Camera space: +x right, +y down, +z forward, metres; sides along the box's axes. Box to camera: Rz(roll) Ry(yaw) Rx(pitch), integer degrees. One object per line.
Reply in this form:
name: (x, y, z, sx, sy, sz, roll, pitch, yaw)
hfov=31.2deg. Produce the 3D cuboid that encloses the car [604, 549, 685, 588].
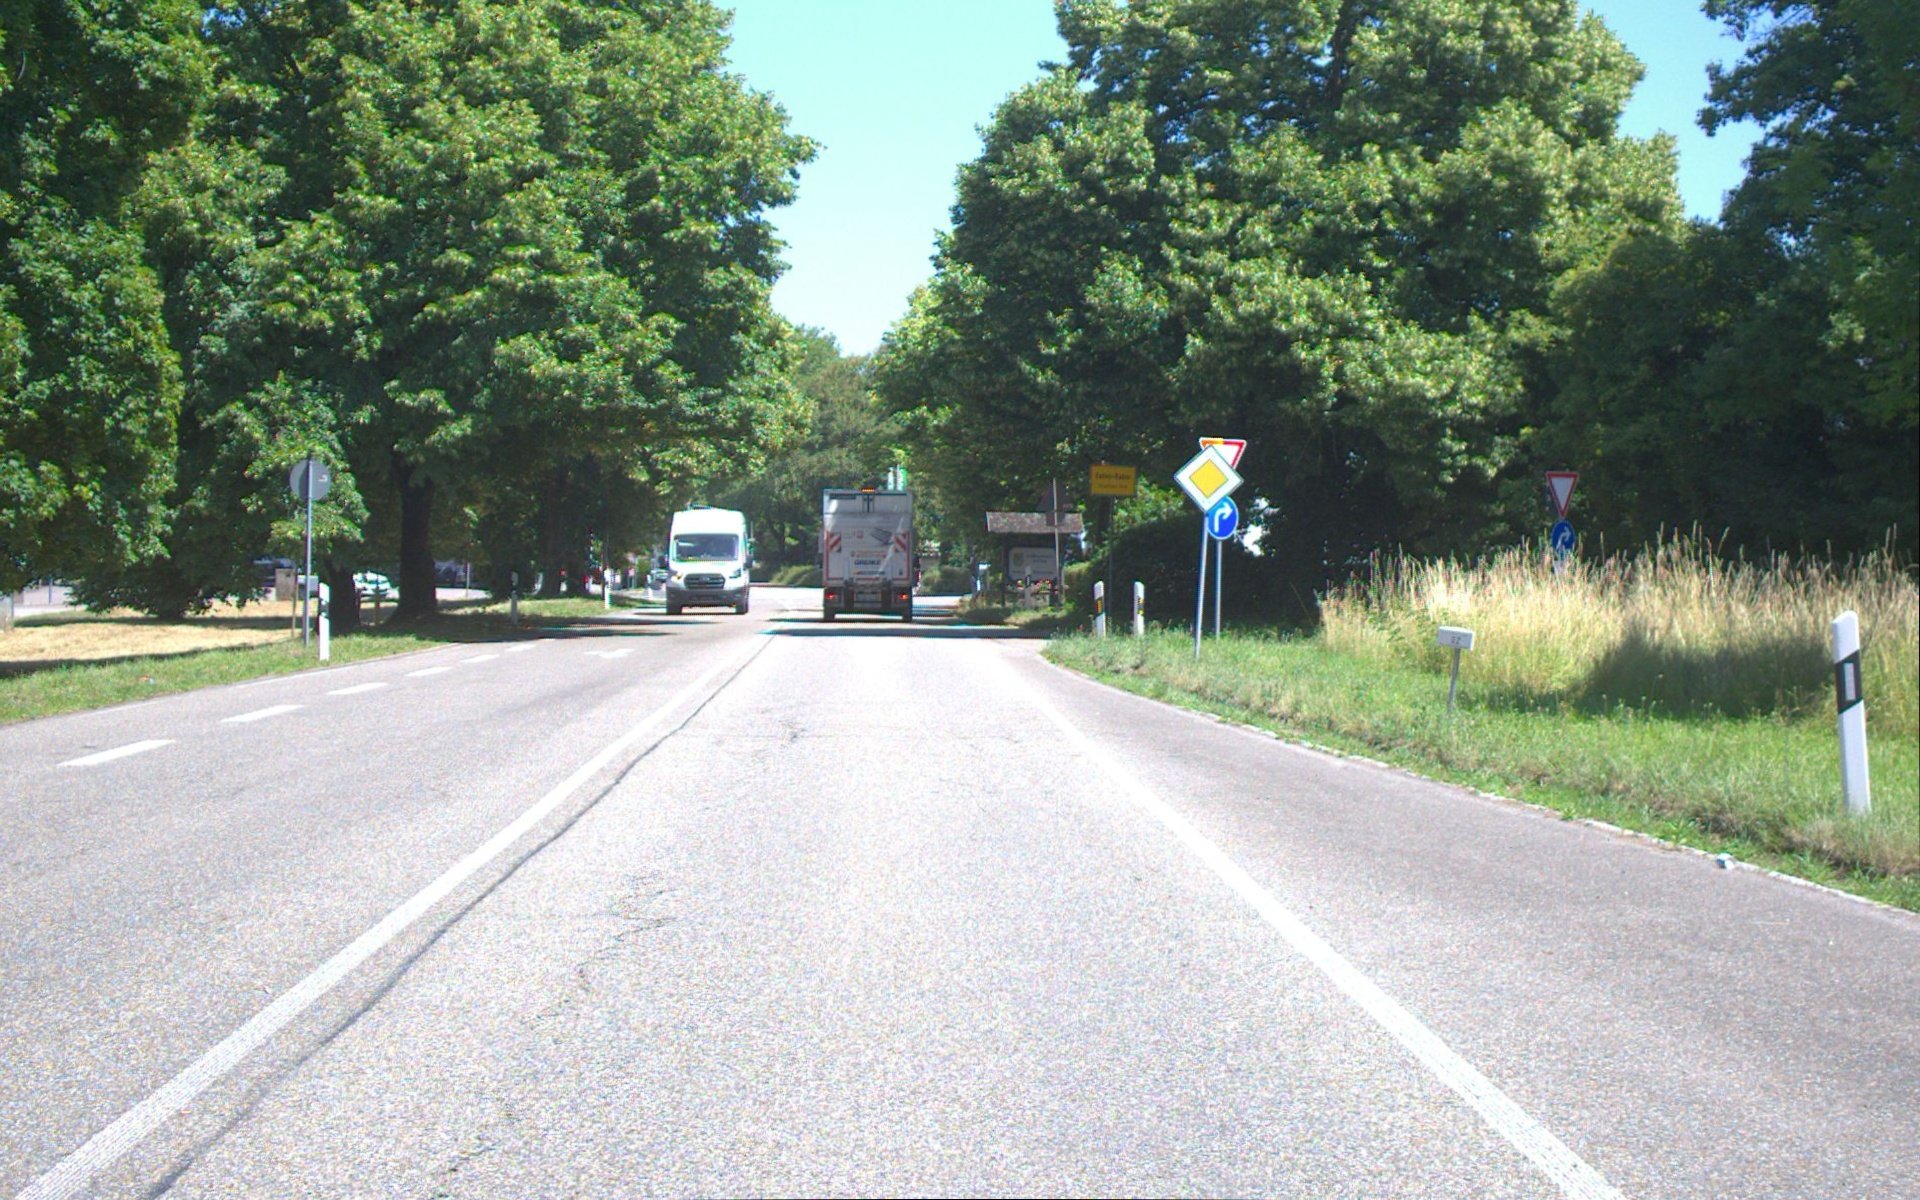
car: (-15.395, -1.532, 167.601, 1.993, 1.850, 5.316, 0, 1, -29)

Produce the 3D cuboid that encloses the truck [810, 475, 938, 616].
truck: (-1.923, -1.278, 78.879, 2.534, 3.124, 5.361, 0, 1, 3)

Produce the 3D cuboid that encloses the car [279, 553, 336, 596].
car: (-24.533, -0.954, 129.211, 1.735, 1.579, 4.001, 0, 1, -16)

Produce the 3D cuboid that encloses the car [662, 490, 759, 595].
car: (-6.419, -1.457, 89.041, 2.073, 2.618, 6.784, 0, 1, -1)

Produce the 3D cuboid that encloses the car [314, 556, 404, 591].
car: (-23.648, -1.044, 135.210, 3.428, 1.357, 1.333, 0, 1, 30)
